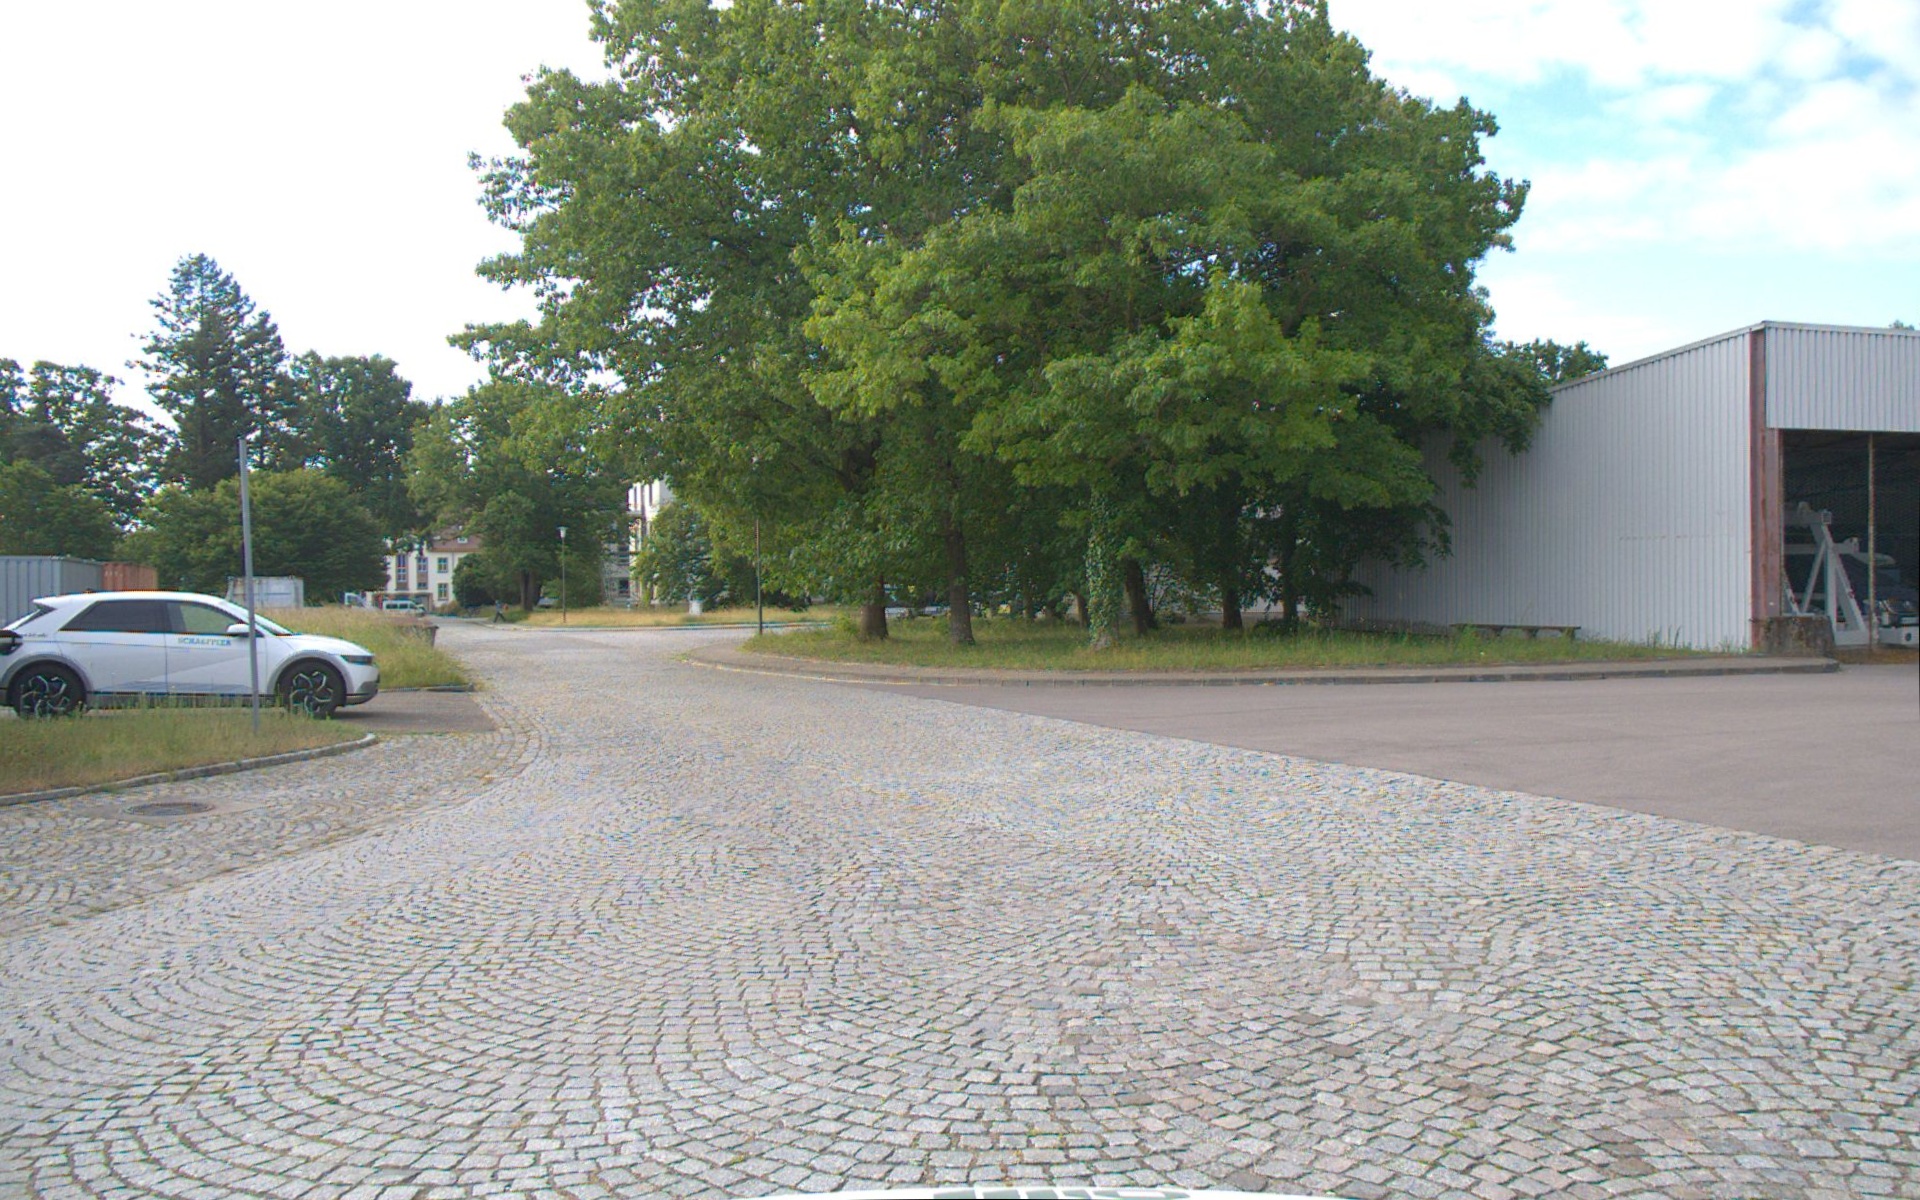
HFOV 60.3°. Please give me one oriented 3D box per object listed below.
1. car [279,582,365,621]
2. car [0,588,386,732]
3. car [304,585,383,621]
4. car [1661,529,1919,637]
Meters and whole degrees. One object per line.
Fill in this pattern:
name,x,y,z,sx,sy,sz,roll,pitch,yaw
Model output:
car,-41.290,0.103,107.112,5.095,2.378,1.988,-1,0,-21
car,-9.787,0.710,21.214,4.463,1.627,1.990,-1,0,-18
car,-43.365,0.192,116.481,5.095,2.378,1.988,-1,0,-21
car,17.410,-0.324,34.317,2.209,2.049,5.303,-1,0,-21
